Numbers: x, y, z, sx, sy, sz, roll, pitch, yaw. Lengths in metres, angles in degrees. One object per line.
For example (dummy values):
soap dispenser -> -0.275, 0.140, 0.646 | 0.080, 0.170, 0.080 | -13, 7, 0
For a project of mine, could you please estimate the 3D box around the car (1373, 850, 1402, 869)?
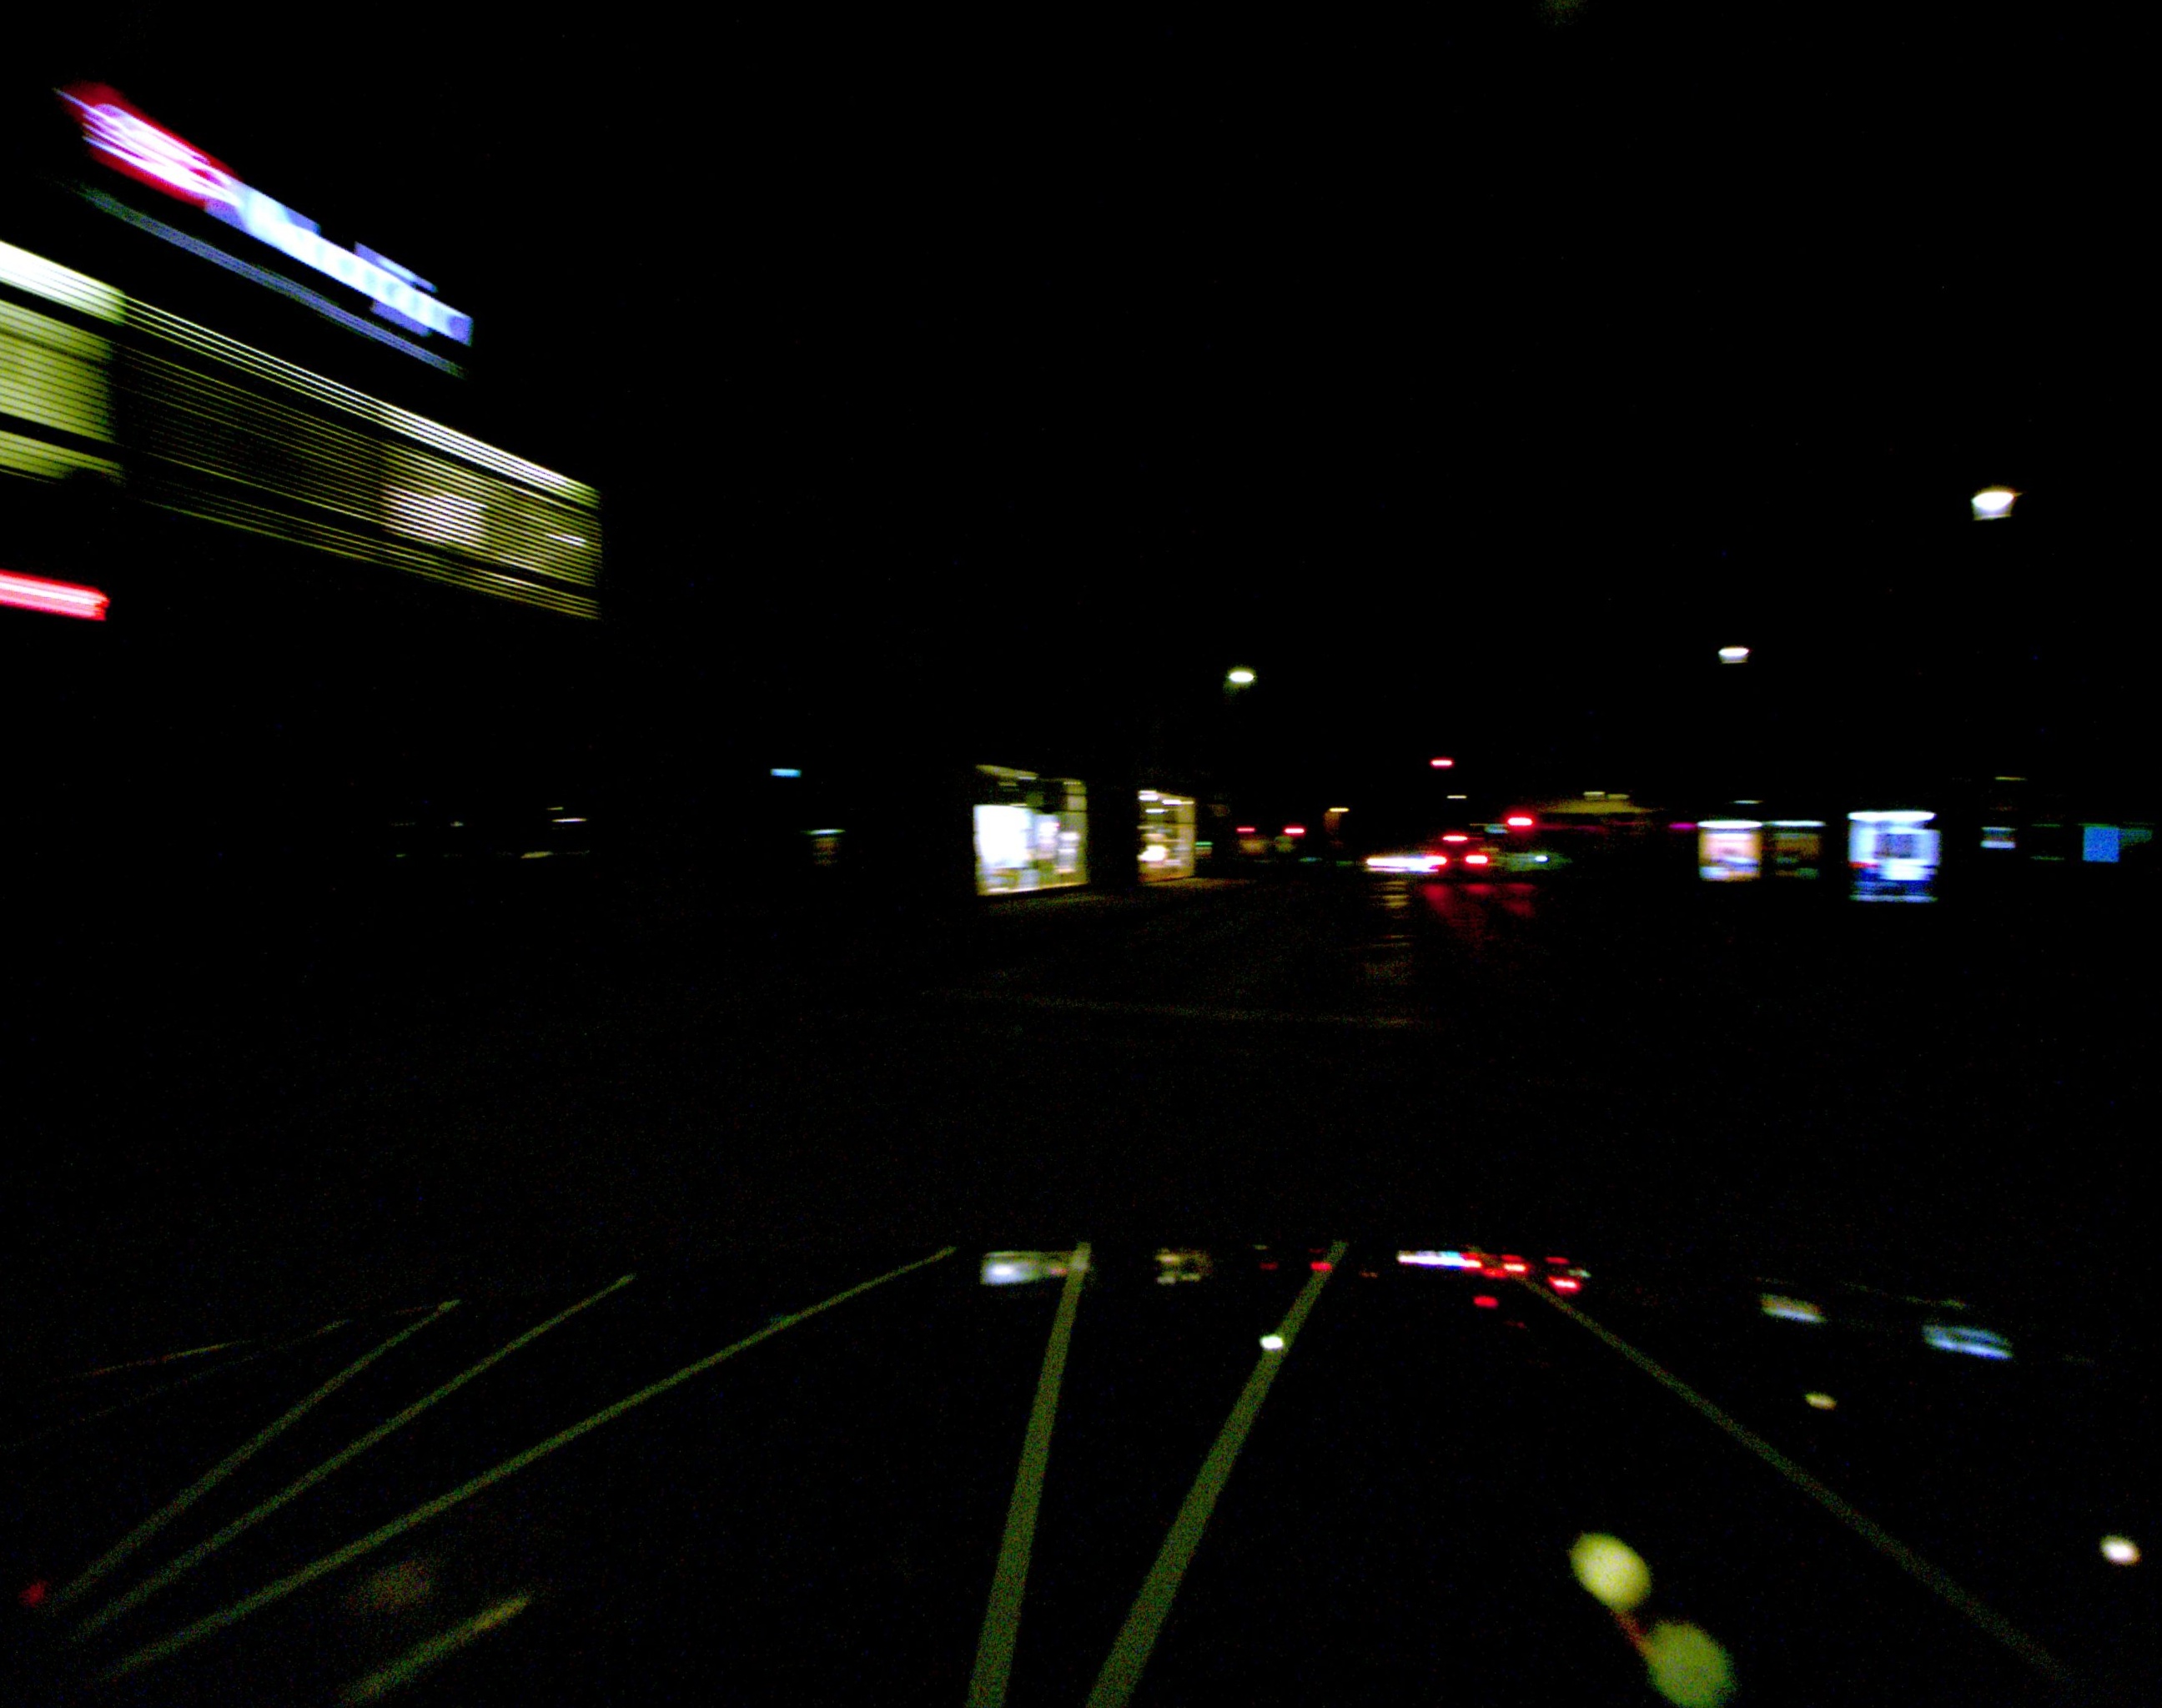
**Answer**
car -> 27.023, 0.477, 66.846 | 1.995, 1.562, 4.007 | -1, 0, 27

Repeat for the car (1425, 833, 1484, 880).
car -> 16.535, 0.106, 33.845 | 1.956, 1.925, 4.425 | -1, 0, 22
